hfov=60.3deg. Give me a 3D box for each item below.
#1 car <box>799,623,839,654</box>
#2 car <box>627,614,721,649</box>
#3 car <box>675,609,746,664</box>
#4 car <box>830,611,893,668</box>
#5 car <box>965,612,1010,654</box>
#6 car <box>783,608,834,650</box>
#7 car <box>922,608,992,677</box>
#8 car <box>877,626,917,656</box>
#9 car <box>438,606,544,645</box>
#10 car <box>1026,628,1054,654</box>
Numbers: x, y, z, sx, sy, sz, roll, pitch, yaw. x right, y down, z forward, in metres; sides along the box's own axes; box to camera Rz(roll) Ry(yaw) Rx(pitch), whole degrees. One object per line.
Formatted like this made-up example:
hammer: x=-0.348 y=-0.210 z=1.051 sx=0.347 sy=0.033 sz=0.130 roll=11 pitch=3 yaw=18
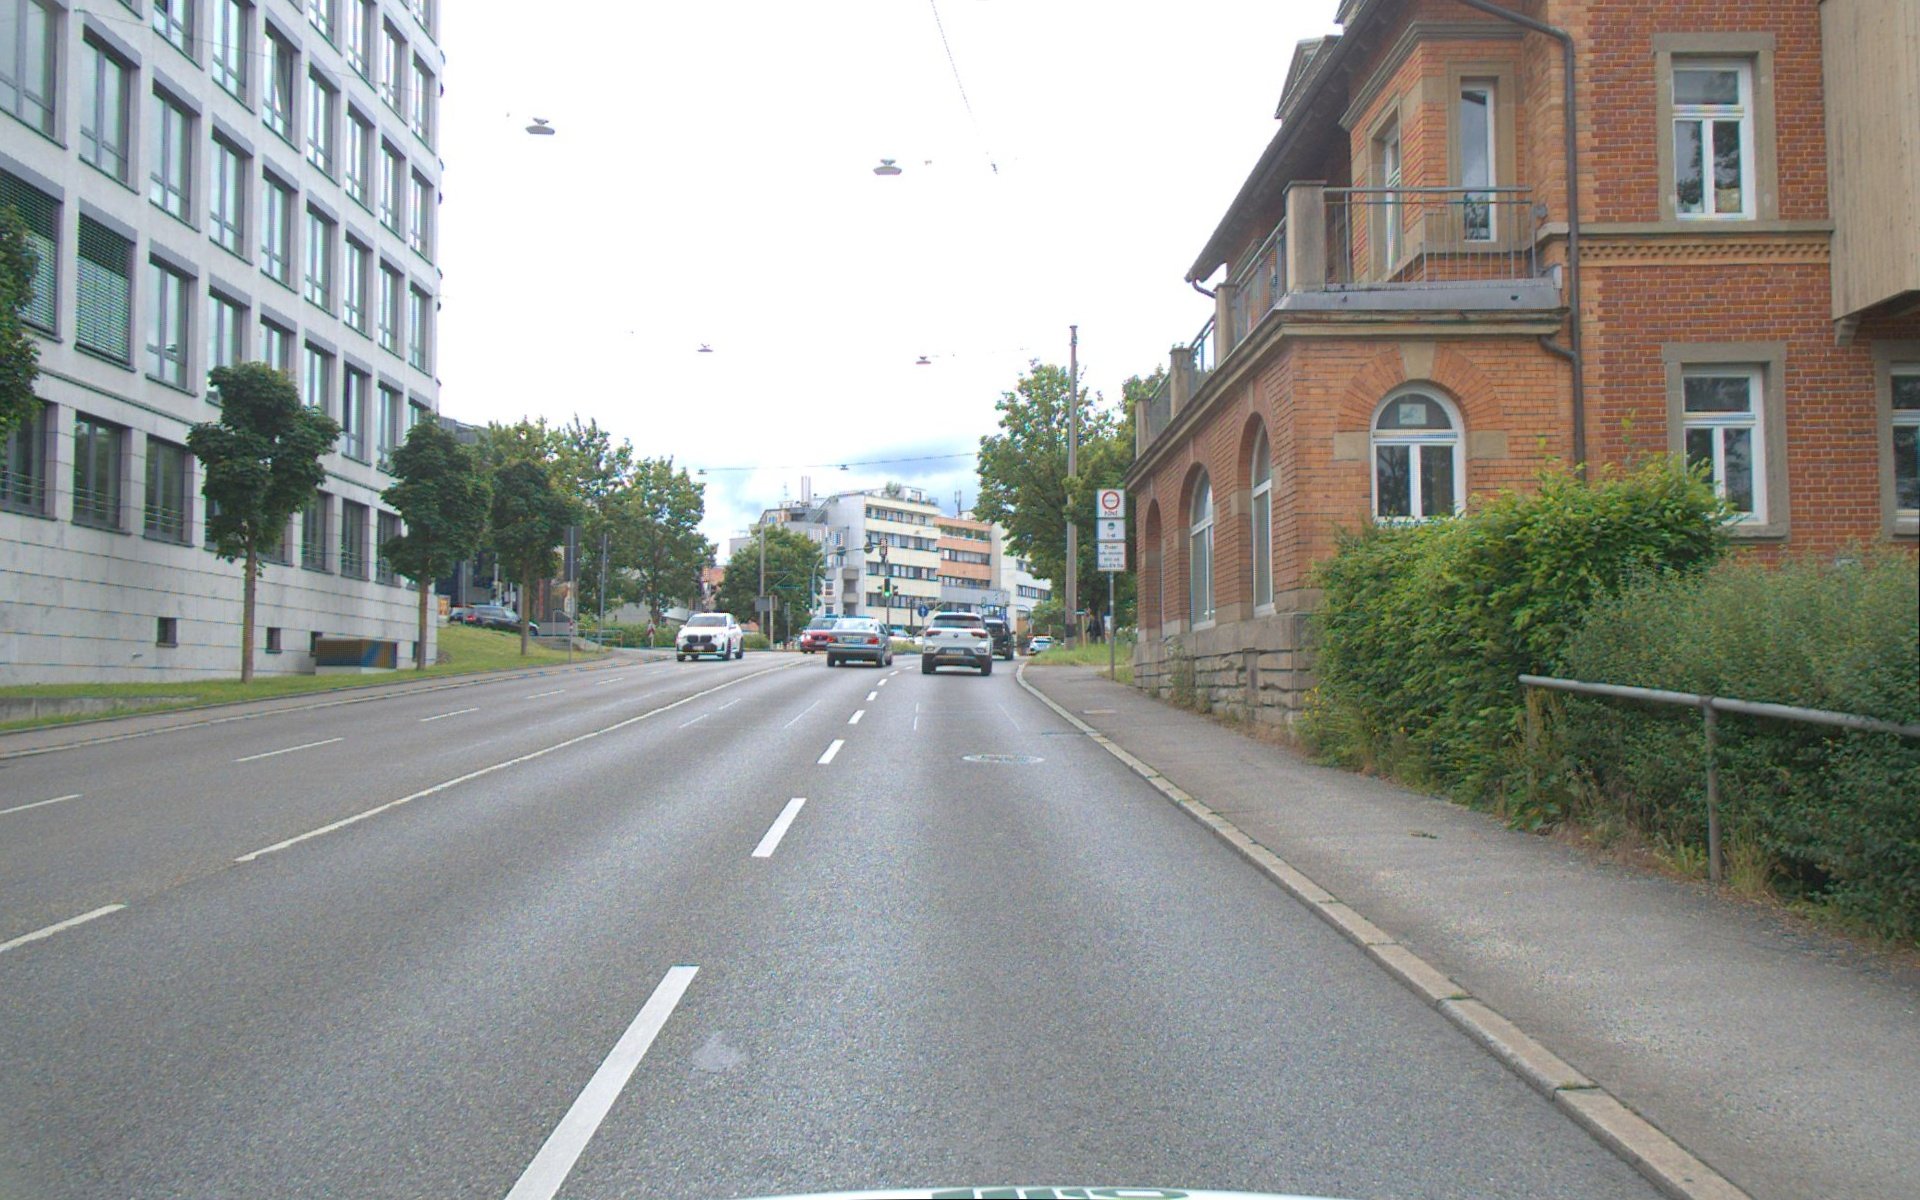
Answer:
car: x=-7.447 y=2.007 z=87.511 sx=1.711 sy=1.521 sz=4.207 roll=-2 pitch=0 yaw=0
car: x=-12.961 y=1.427 z=75.088 sx=1.750 sy=1.571 sz=3.974 roll=-1 pitch=-1 yaw=43
car: x=-9.040 y=1.290 z=60.252 sx=1.831 sy=1.820 sz=4.653 roll=-2 pitch=0 yaw=-1
car: x=-2.820 y=1.109 z=47.874 sx=1.665 sy=1.542 sz=3.735 roll=0 pitch=0 yaw=-1
car: x=1.037 y=1.274 z=63.344 sx=1.665 sy=1.543 sz=3.493 roll=0 pitch=-2 yaw=0
car: x=-6.711 y=1.283 z=73.586 sx=1.831 sy=1.731 sz=4.428 roll=-2 pitch=0 yaw=-1
car: x=-0.108 y=1.070 z=43.148 sx=1.665 sy=1.575 sz=3.735 roll=3 pitch=0 yaw=-1
car: x=-3.700 y=2.413 z=97.790 sx=1.733 sy=1.598 sz=4.288 roll=-2 pitch=0 yaw=6
car: x=-19.293 y=1.049 z=68.194 sx=1.741 sy=1.489 sz=4.438 roll=2 pitch=0 yaw=24
car: x=5.185 y=2.614 z=106.412 sx=1.733 sy=1.598 sz=4.286 roll=0 pitch=0 yaw=3
